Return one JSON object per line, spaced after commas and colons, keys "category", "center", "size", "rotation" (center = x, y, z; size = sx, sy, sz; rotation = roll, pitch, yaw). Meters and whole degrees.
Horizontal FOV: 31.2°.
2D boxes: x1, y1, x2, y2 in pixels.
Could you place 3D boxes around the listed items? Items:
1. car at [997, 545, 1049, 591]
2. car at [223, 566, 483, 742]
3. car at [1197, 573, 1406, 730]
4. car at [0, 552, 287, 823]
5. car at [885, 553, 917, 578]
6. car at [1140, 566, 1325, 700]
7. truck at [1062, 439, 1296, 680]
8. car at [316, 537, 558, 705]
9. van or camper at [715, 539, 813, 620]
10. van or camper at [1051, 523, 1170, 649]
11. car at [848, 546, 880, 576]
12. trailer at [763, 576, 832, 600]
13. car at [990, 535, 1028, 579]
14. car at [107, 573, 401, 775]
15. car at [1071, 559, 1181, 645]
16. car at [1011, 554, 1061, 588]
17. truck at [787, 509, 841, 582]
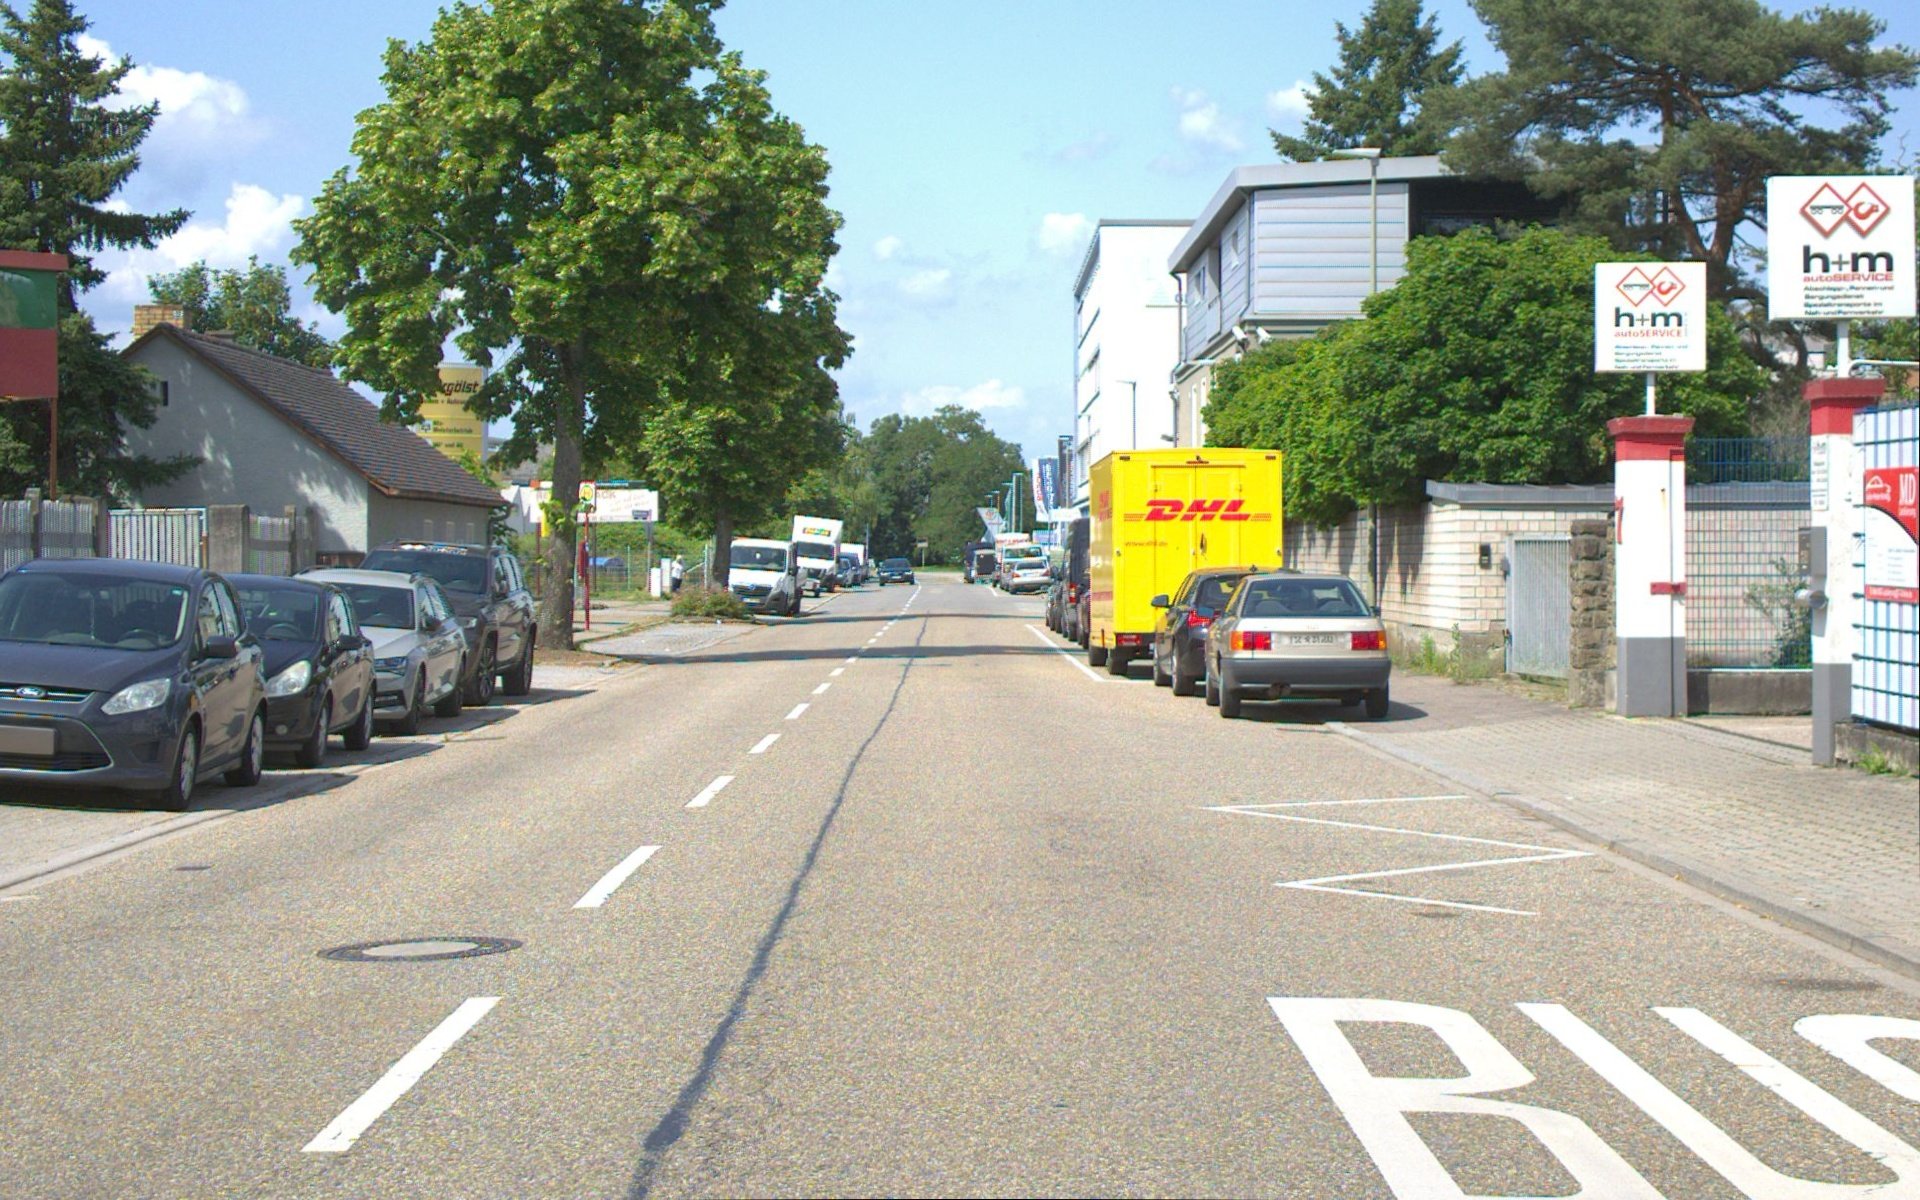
{"category": "car", "center": [2.765, -1.420, 152.107], "size": [2.216, 2.007, 5.485], "rotation": [0, 1, 0]}
{"category": "car", "center": [-5.948, 0.473, 34.200], "size": [1.733, 1.513, 4.743], "rotation": [2, 1, -1]}
{"category": "car", "center": [3.365, 0.466, 34.571], "size": [1.652, 1.382, 4.423], "rotation": [1, 1, 0]}
{"category": "car", "center": [-5.895, 0.517, 23.615], "size": [1.724, 1.598, 4.414], "rotation": [3, 1, -2]}
{"category": "car", "center": [-3.214, -1.900, 187.928], "size": [1.654, 1.320, 4.416], "rotation": [0, 1, 0]}
{"category": "car", "center": [3.062, 0.336, 39.317], "size": [1.662, 1.436, 4.284], "rotation": [0, 1, -2]}
{"category": "truck", "center": [2.817, -0.541, 46.184], "size": [2.474, 2.930, 7.189], "rotation": [1, 1, -1]}
{"category": "car", "center": [-5.965, 0.200, 39.760], "size": [1.919, 1.816, 4.785], "rotation": [0, 1, 2]}
{"category": "van or camper", "center": [-6.011, -0.680, 106.190], "size": [2.174, 2.405, 7.697], "rotation": [0, 1, 3]}
{"category": "van or camper", "center": [2.858, -0.286, 66.445], "size": [1.993, 2.283, 5.448], "rotation": [1, 1, 0]}
{"category": "car", "center": [-5.326, -2.153, 191.045], "size": [1.713, 1.645, 4.000], "rotation": [0, 1, 0]}
{"category": "trailer", "center": [-6.427, -0.488, 136.419], "size": [2.417, 0.811, 5.537], "rotation": [2, 1, 0]}
{"category": "car", "center": [2.304, -2.049, 162.957], "size": [1.707, 2.083, 4.000], "rotation": [0, 1, -1]}
{"category": "car", "center": [-5.826, 0.560, 28.796], "size": [1.627, 1.443, 4.027], "rotation": [4, 1, -1]}
{"category": "car", "center": [2.883, 0.013, 60.547], "size": [1.681, 1.437, 4.766], "rotation": [1, 1, 0]}
{"category": "car", "center": [3.053, -1.180, 138.549], "size": [1.928, 1.306, 4.000], "rotation": [0, 1, 0]}
{"category": "truck", "center": [-6.365, -2.384, 150.564], "size": [2.029, 3.143, 6.500], "rotation": [0, 1, 0]}
